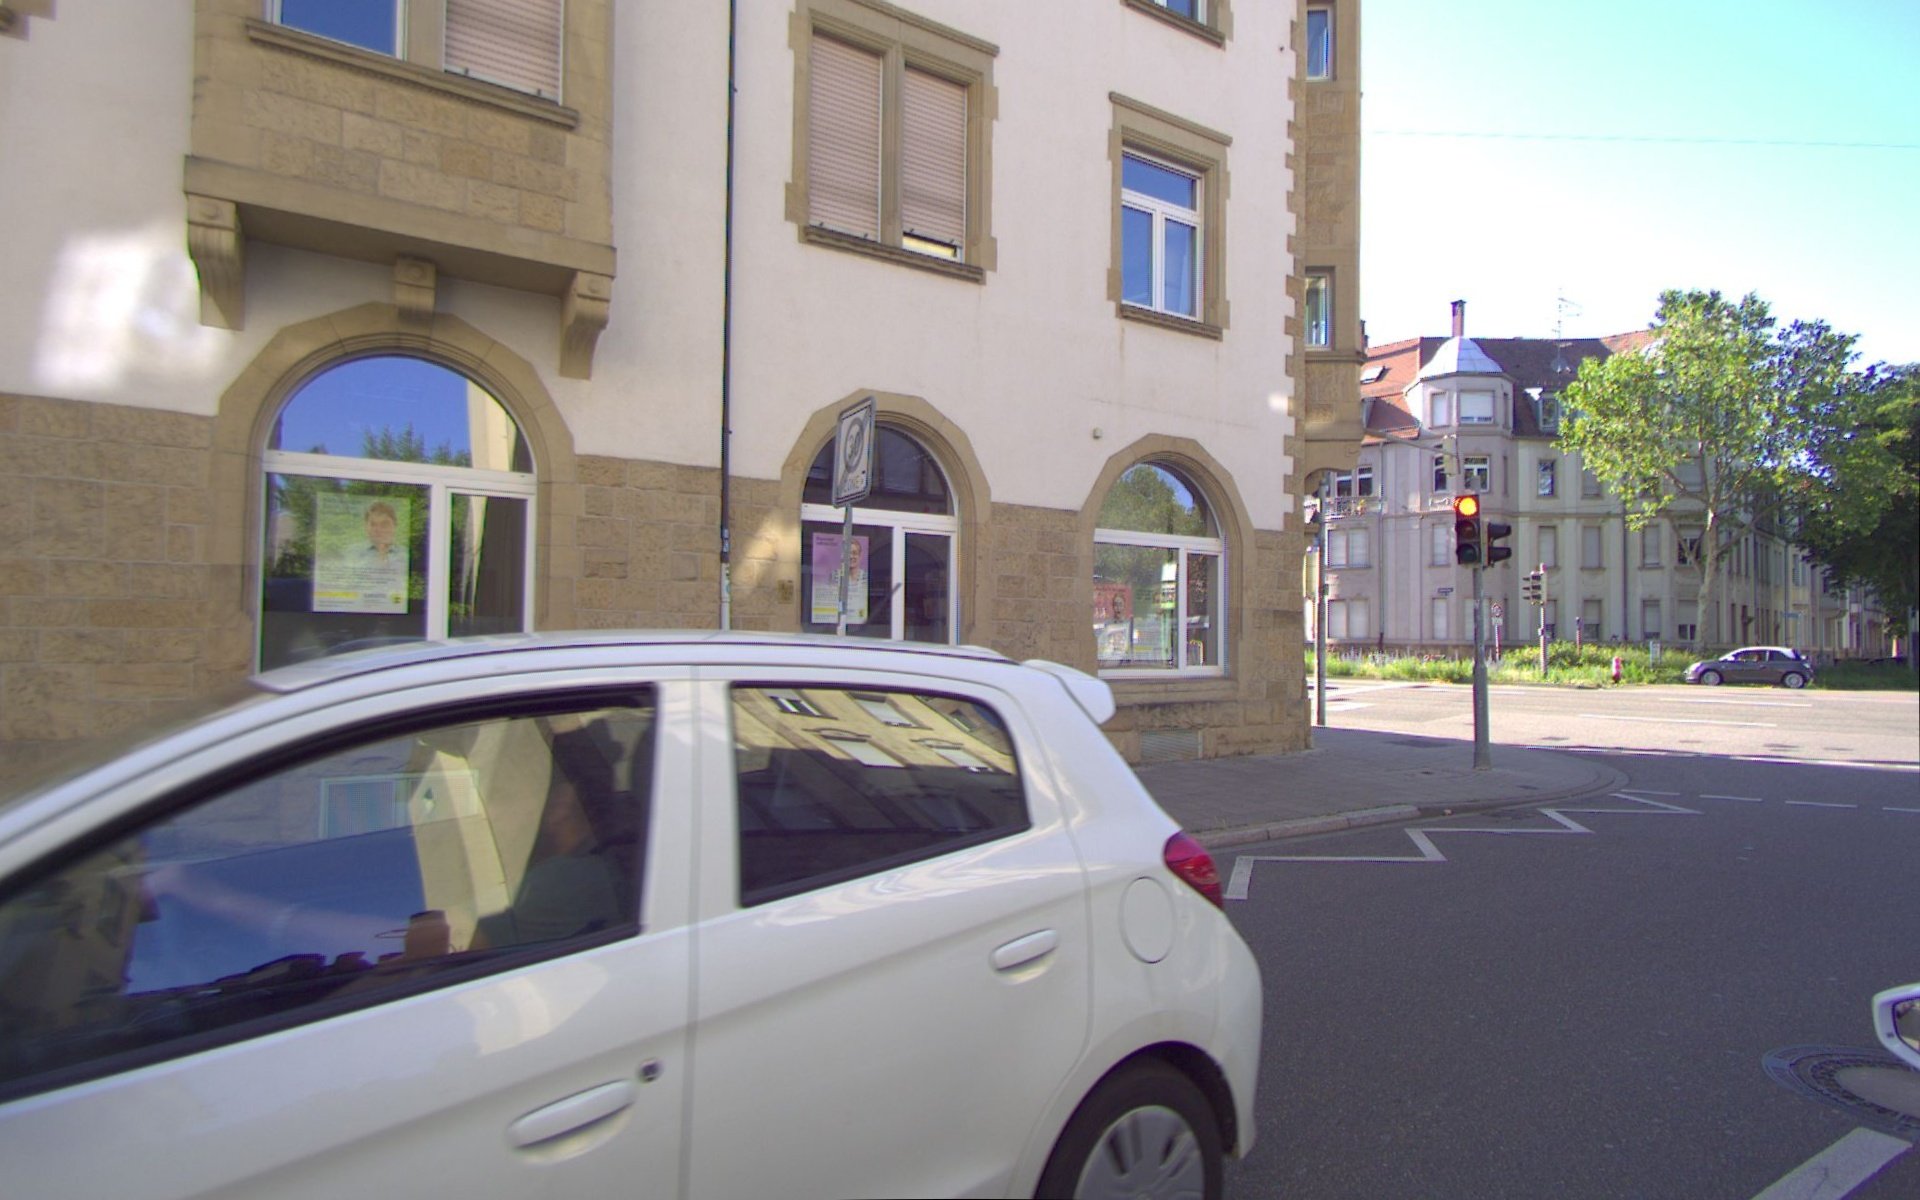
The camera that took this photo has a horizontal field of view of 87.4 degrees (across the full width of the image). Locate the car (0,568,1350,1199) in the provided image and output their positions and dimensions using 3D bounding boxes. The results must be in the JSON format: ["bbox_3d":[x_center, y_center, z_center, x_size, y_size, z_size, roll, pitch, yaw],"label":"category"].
[{"bbox_3d":[-0.966,0.775,2.103,3.500,1.502,1.687,1,-4,-36],"label":"car"}]

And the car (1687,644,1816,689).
[{"bbox_3d":[28.480,2.367,36.191,3.590,1.476,1.649,-1,-2,41],"label":"car"}]

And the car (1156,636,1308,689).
[{"bbox_3d":[8.182,1.834,30.452,4.155,1.476,1.669,-2,-2,42],"label":"car"}]

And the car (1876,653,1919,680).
[{"bbox_3d":[54.134,3.775,56.618,1.647,1.476,3.595,2,-2,-44],"label":"car"}]

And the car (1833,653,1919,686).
[{"bbox_3d":[45.453,3.405,49.502,1.647,1.476,3.595,2,-2,-44],"label":"car"}]
